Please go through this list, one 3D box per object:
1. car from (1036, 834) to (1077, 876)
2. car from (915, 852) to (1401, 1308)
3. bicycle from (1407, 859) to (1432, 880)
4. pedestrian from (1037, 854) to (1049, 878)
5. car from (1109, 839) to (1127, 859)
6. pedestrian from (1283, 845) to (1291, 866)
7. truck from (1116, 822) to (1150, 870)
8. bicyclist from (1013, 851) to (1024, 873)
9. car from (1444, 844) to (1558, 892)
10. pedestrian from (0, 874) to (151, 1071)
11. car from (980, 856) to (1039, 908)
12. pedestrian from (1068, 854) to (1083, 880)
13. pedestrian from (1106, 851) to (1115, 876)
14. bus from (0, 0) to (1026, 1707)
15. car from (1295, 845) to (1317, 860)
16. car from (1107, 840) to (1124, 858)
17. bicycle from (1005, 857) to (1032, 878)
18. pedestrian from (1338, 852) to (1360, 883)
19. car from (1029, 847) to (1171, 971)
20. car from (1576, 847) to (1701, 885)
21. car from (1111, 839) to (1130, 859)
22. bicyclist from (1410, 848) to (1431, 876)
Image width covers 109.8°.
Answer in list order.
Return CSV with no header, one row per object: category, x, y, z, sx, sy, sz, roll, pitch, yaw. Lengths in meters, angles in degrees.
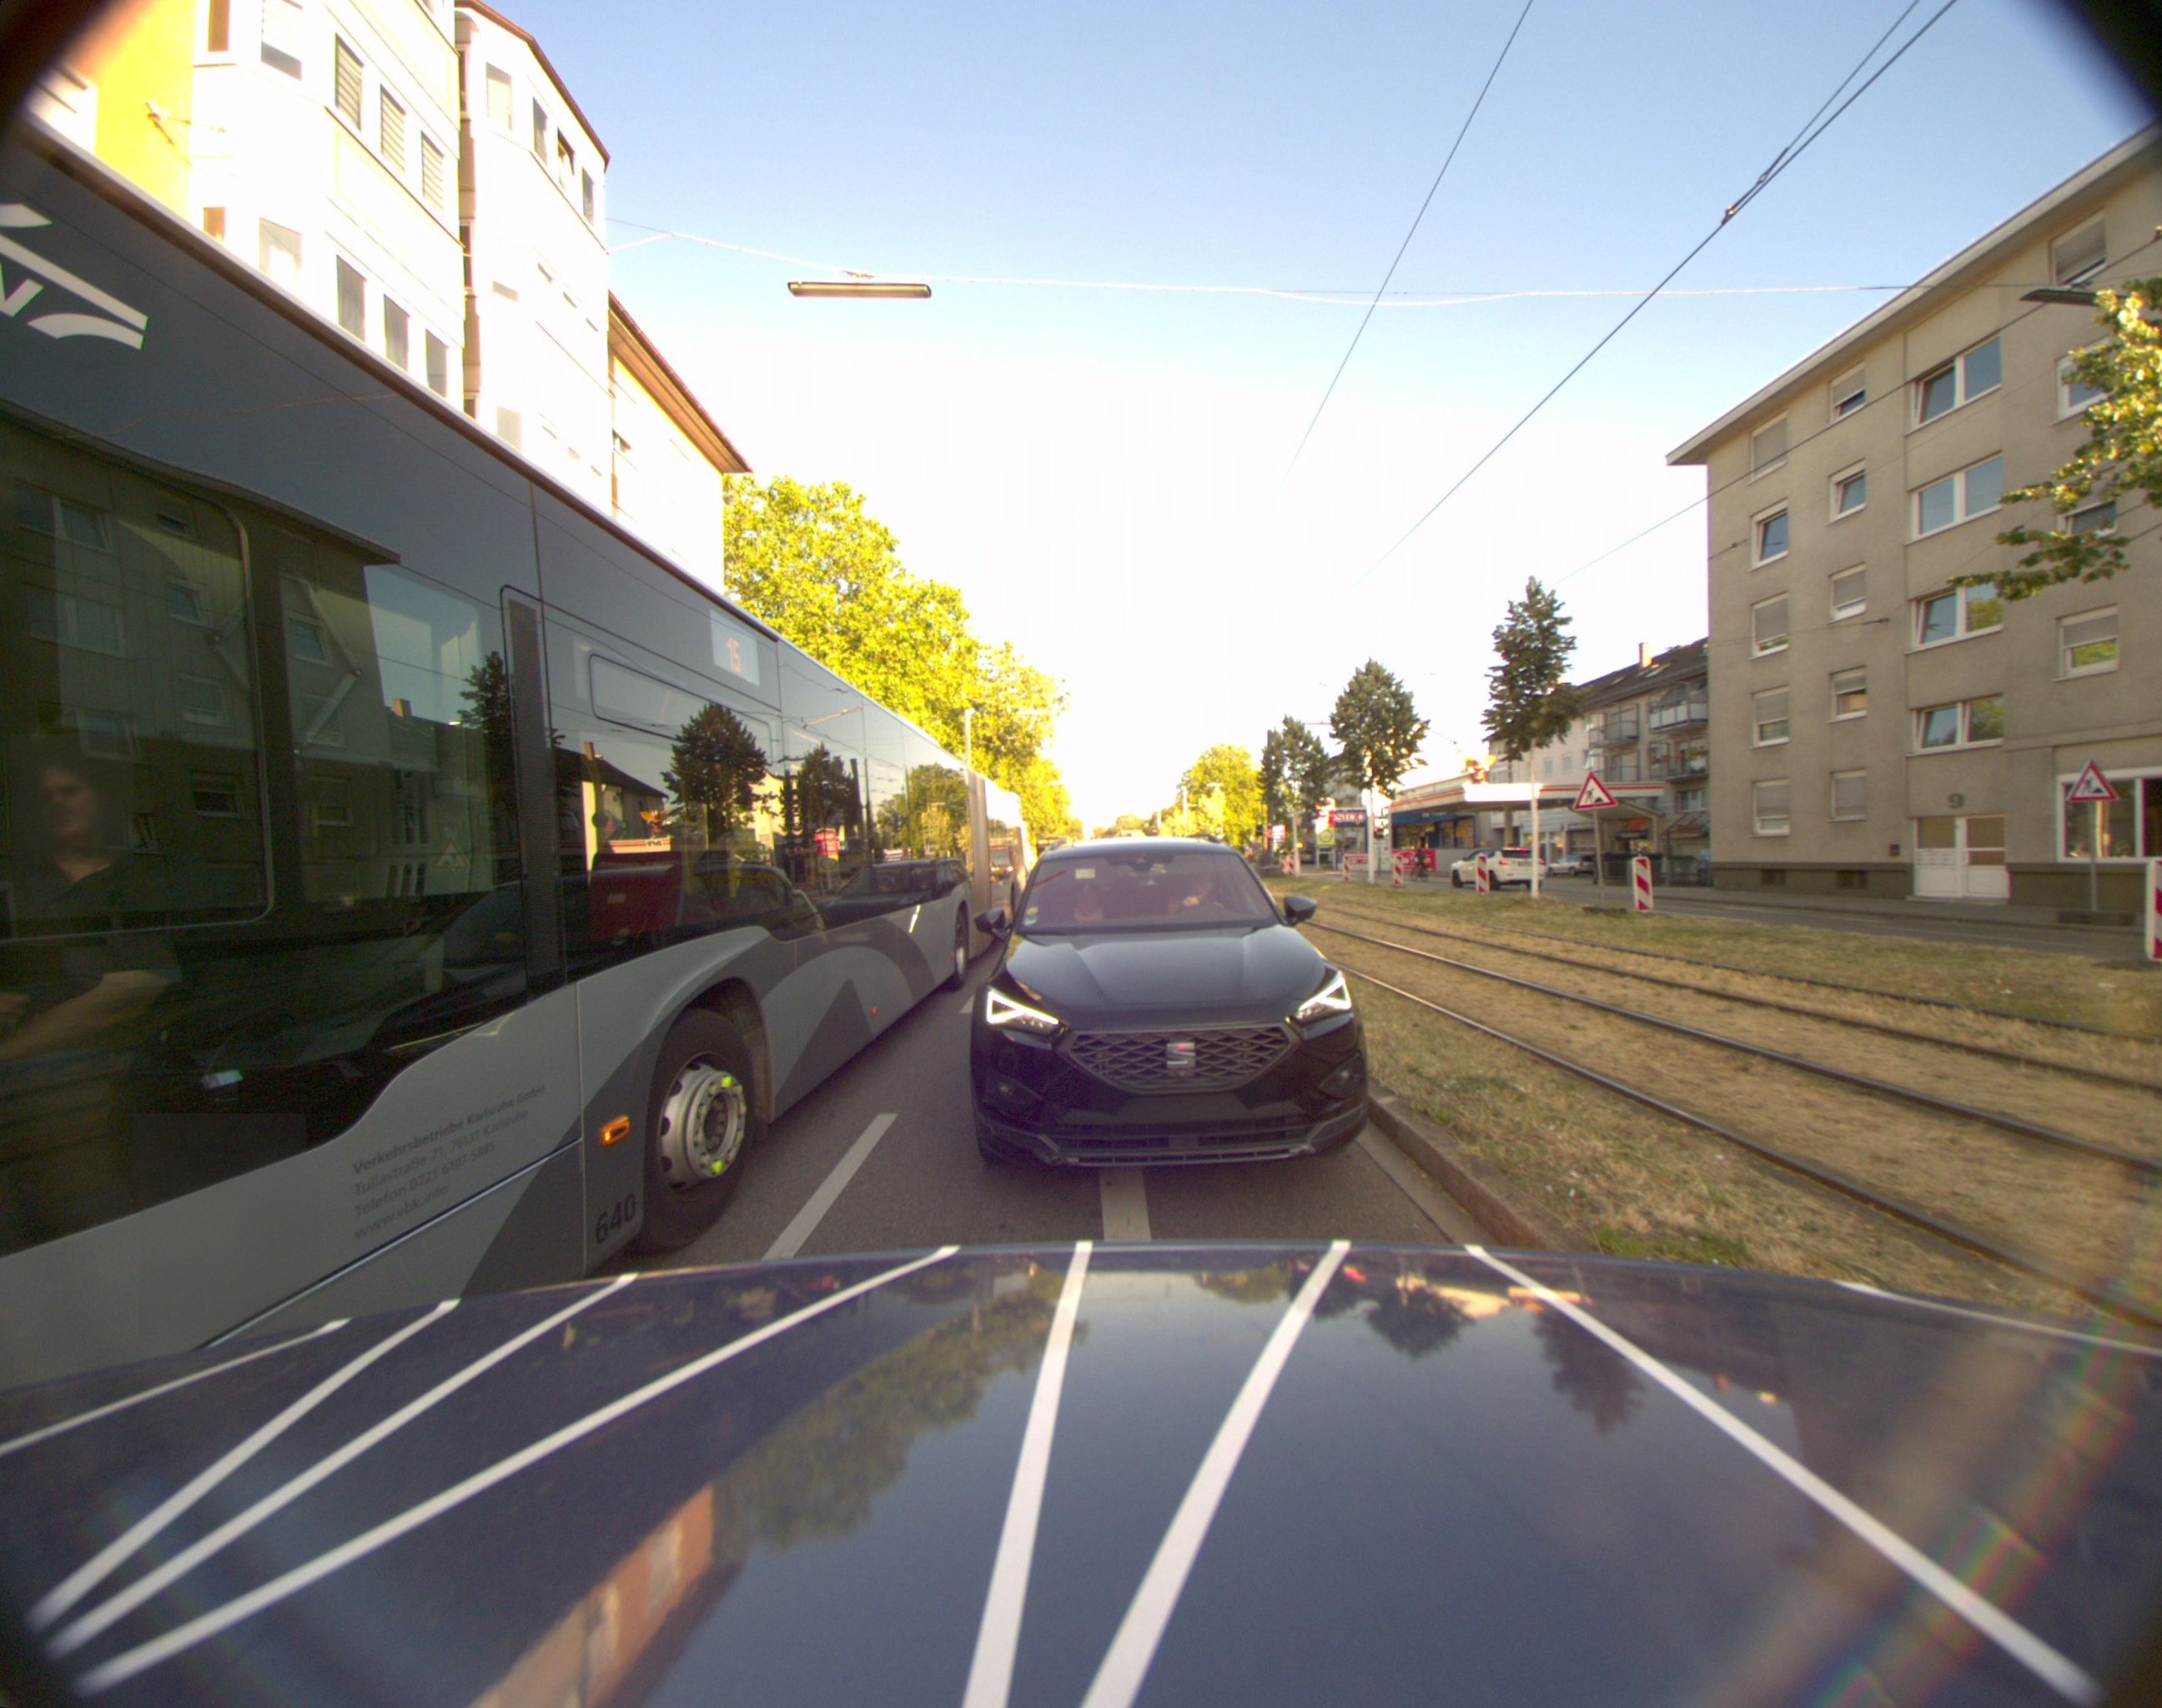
car,-1.723,0.035,55.712,2.681,2.875,5.452,-2,1,0
car,0.319,0.855,4.869,1.774,1.667,4.000,-2,0,1
bicycle,17.487,0.811,39.289,0.447,1.038,1.860,0,0,-2
pedestrian,-2.333,0.723,46.649,0.618,1.482,0.438,-2,1,-13
car,4.056,-0.569,83.559,1.767,2.002,3.791,-2,1,1
pedestrian,20.419,0.152,75.248,0.632,2.002,0.583,0,1,2
truck,4.310,-0.683,64.525,2.306,3.798,7.723,-2,1,1
bicyclist,-3.724,0.457,45.156,0.500,1.303,0.499,-3,1,-17
car,16.213,0.478,29.601,1.998,1.725,4.392,0,1,0
pedestrian,-8.631,0.971,6.468,0.580,1.574,0.668,0,1,1
car,-2.466,0.946,27.148,1.750,1.598,3.823,-2,1,-1
pedestrian,-0.344,0.809,46.686,0.700,1.552,0.508,-3,1,-35
pedestrian,2.396,0.782,61.744,0.625,2.002,0.695,-2,0,0
bus,-2.817,0.150,9.022,2.773,3.131,17.740,-2,0,1
car,25.092,-0.196,84.820,1.781,1.547,4.002,-2,1,9
car,3.985,-0.614,87.880,1.767,2.002,3.791,-2,1,1
bicycle,-3.733,0.796,45.197,1.474,1.213,0.525,-2,1,-17
pedestrian,11.003,0.554,31.214,0.664,1.263,0.581,-2,0,1
car,0.289,0.775,12.764,1.998,1.739,4.000,0,0,1
car,22.772,0.512,31.146,3.727,1.460,1.908,0,-1,0
car,4.057,-0.513,78.525,1.767,2.002,3.791,-2,1,1
bicyclist,17.477,0.400,39.117,0.780,1.438,0.650,-1,1,-1
